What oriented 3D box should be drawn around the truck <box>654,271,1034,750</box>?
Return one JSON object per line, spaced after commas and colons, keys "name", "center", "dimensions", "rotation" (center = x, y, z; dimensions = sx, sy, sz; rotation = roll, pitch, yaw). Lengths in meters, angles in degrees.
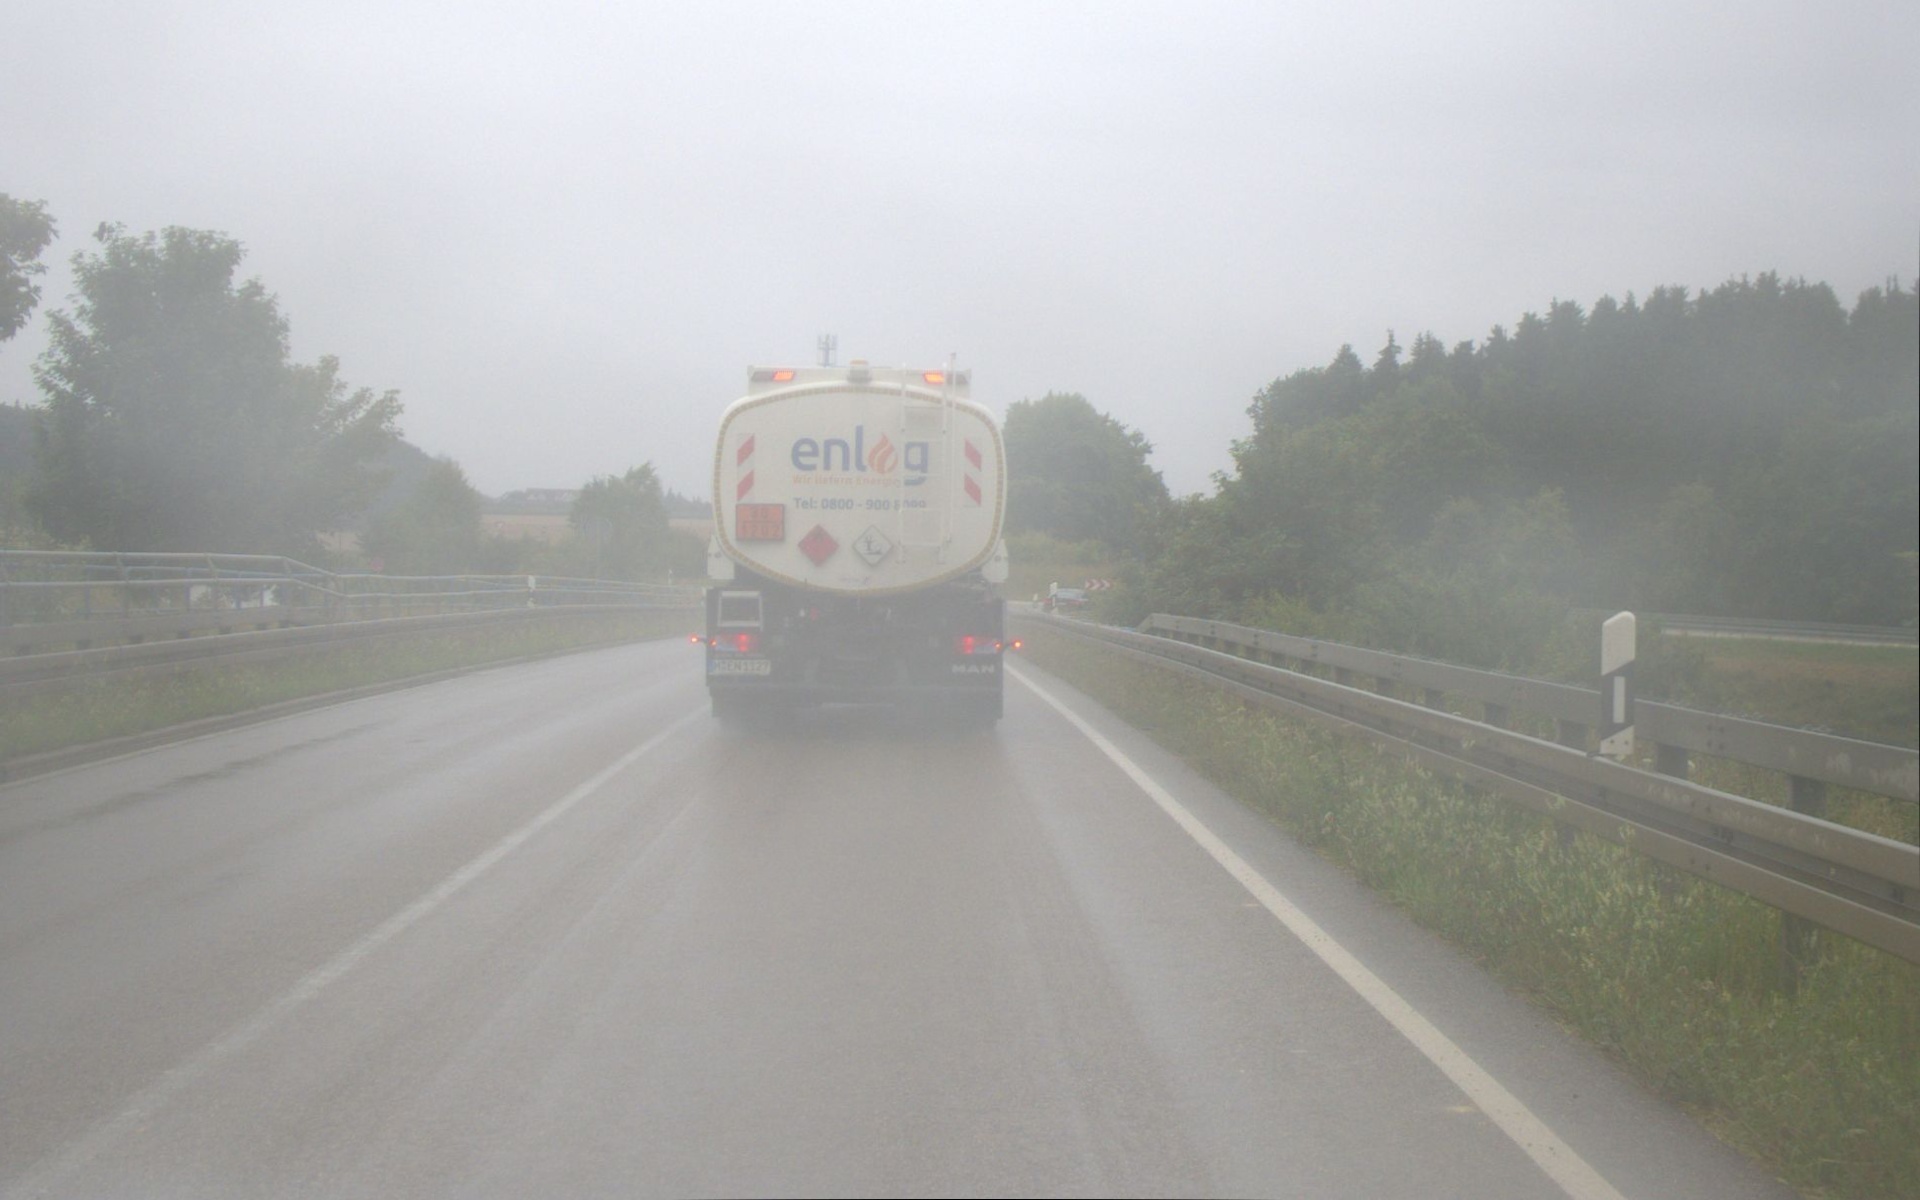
{"name": "truck", "center": [-0.980, -0.766, 32.103], "dimensions": [3.039, 3.838, 8.823], "rotation": [0, 1, -1]}
